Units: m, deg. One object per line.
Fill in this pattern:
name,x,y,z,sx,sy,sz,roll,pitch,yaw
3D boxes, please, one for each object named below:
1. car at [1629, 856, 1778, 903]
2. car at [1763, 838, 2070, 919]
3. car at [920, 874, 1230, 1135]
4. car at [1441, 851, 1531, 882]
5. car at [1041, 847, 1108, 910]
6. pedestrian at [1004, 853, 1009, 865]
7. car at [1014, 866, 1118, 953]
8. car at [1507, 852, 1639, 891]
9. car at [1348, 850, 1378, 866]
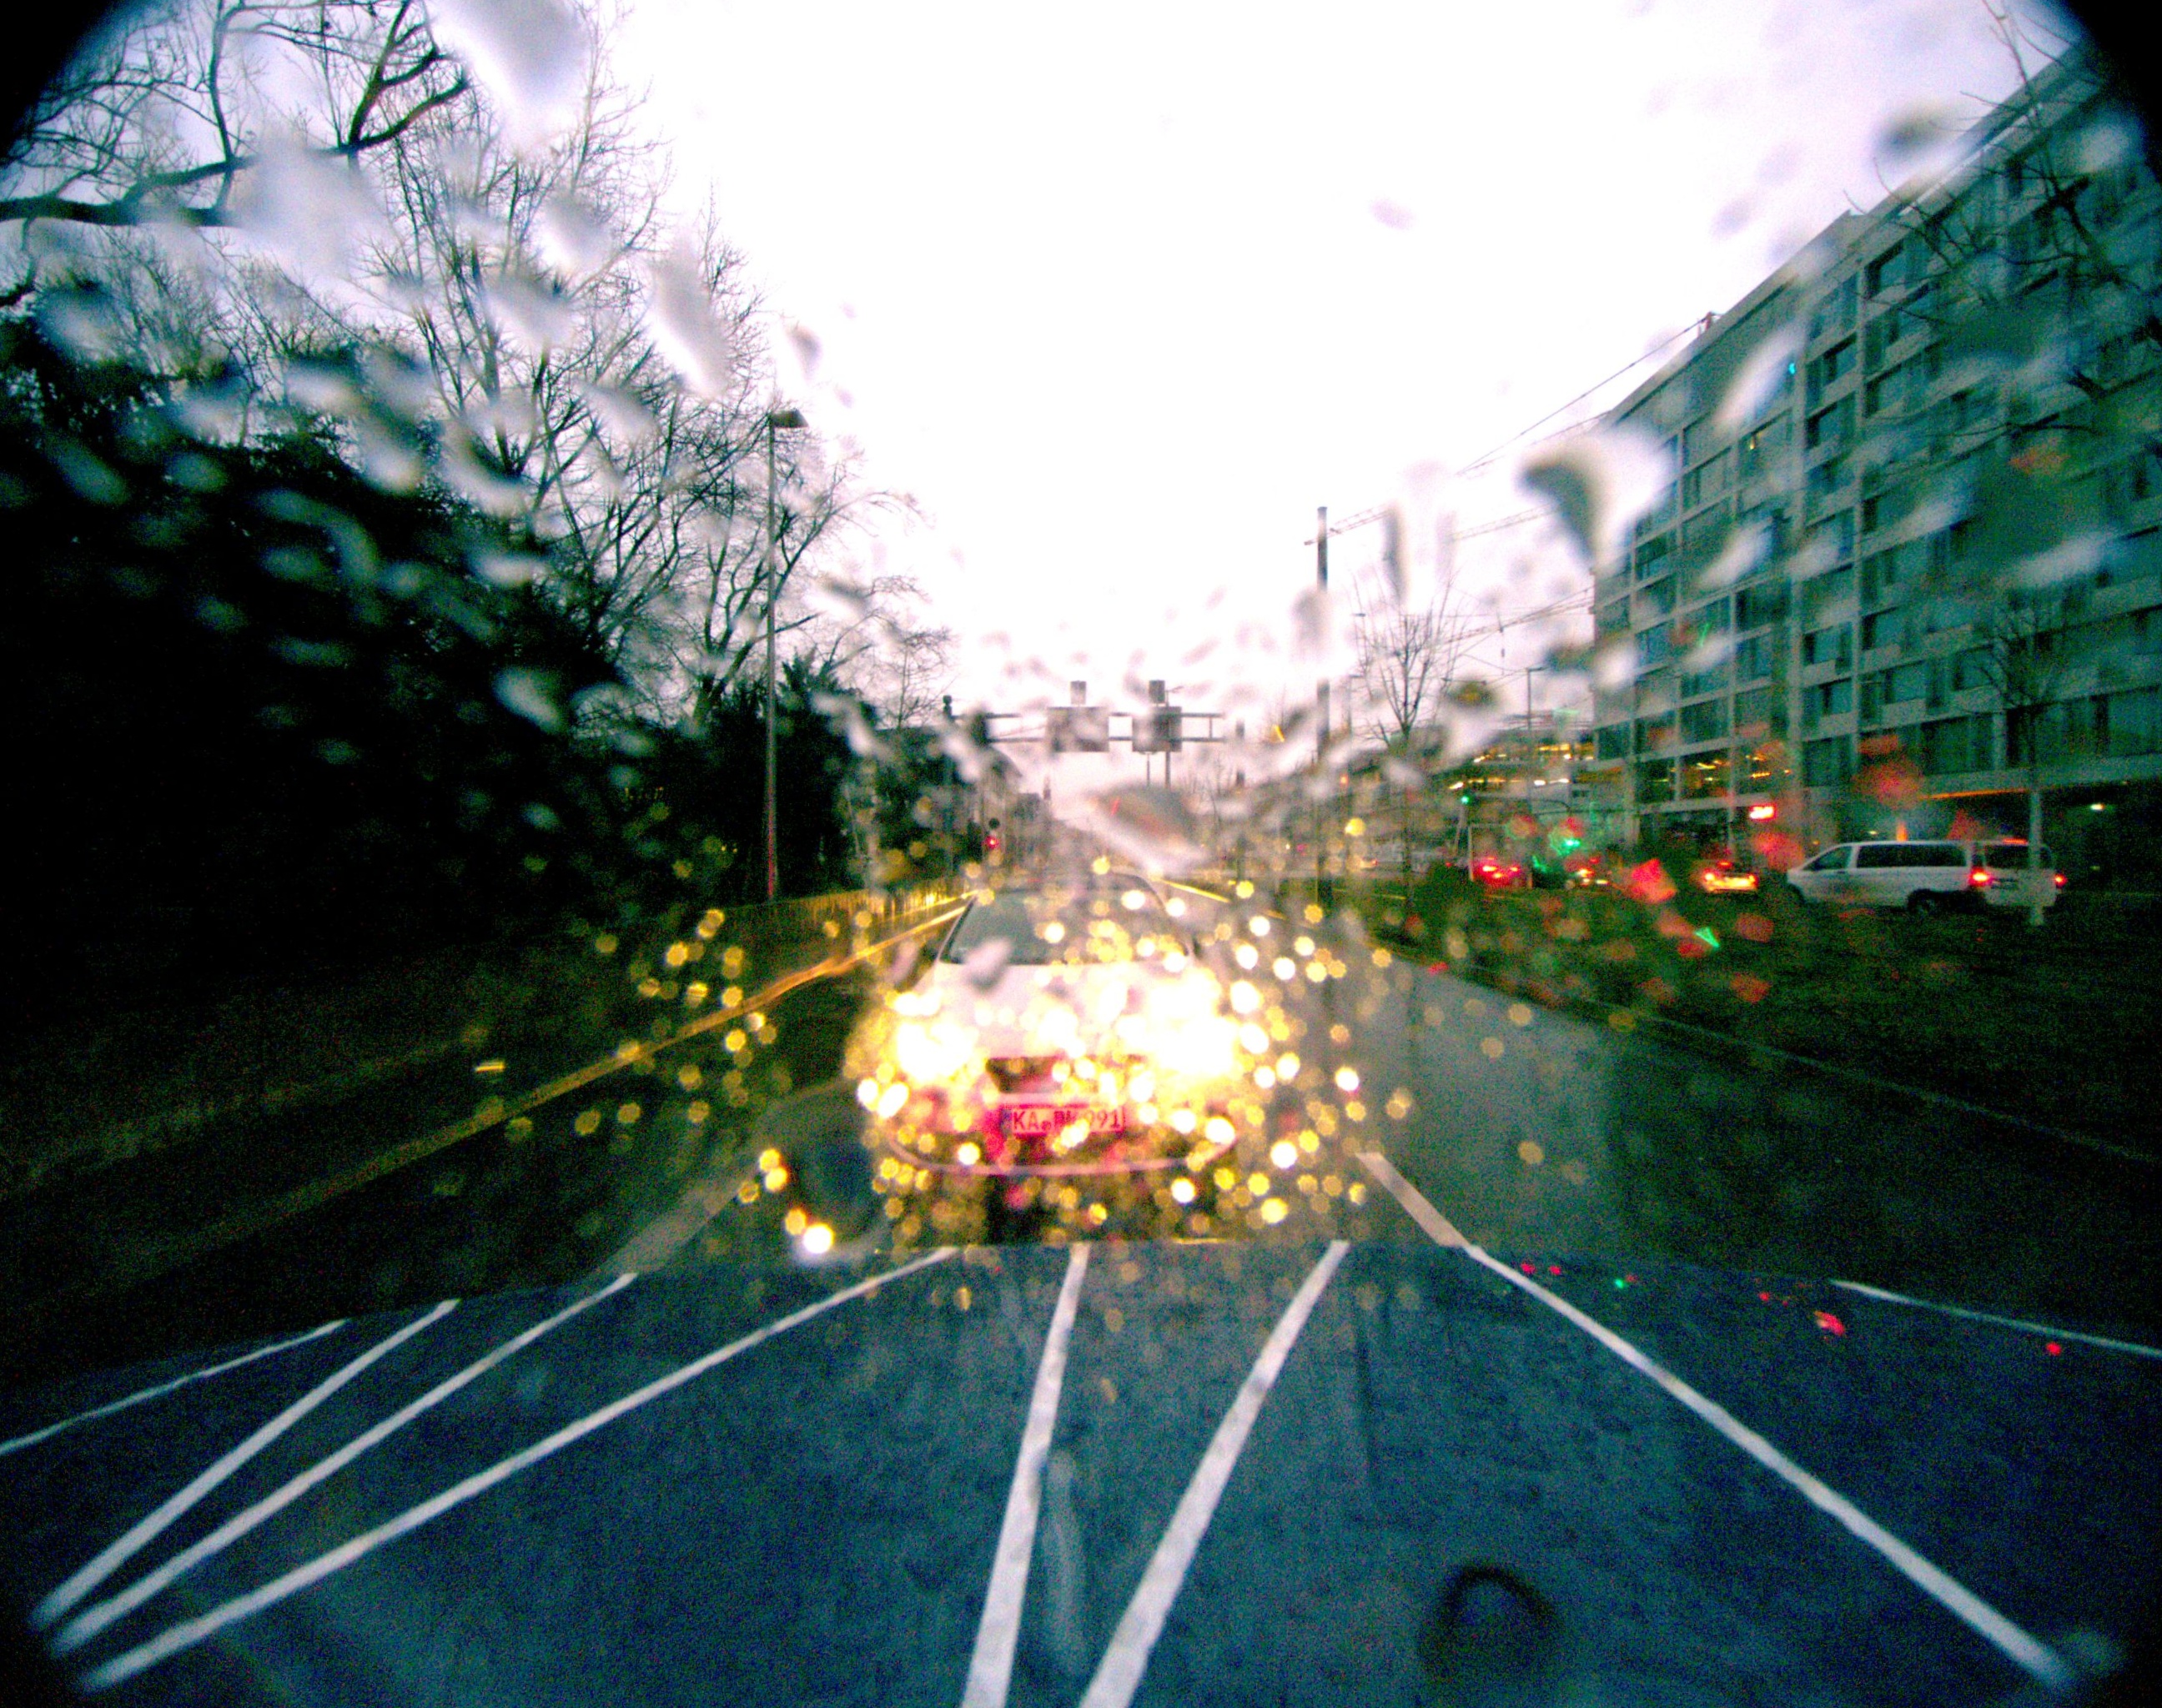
car,20.409,0.788,25.122,1.901,1.423,3.706,0,0,0
car,19.907,0.511,18.574,1.900,1.709,5.118,0,0,0
car,-0.034,0.943,6.489,1.798,1.363,3.981,-2,1,0
car,20.490,0.593,38.734,1.998,1.459,5.034,0,0,1
car,-0.184,0.650,22.629,1.781,1.666,3.981,-2,1,0
pedestrian,-9.155,0.653,93.321,0.521,1.501,0.588,0,1,1
car,-0.255,0.975,14.828,1.728,1.318,3.981,-2,1,0
car,20.496,0.685,31.904,2.001,1.488,4.444,0,0,-15
car,31.645,0.403,85.428,1.900,1.709,4.918,0,0,5
